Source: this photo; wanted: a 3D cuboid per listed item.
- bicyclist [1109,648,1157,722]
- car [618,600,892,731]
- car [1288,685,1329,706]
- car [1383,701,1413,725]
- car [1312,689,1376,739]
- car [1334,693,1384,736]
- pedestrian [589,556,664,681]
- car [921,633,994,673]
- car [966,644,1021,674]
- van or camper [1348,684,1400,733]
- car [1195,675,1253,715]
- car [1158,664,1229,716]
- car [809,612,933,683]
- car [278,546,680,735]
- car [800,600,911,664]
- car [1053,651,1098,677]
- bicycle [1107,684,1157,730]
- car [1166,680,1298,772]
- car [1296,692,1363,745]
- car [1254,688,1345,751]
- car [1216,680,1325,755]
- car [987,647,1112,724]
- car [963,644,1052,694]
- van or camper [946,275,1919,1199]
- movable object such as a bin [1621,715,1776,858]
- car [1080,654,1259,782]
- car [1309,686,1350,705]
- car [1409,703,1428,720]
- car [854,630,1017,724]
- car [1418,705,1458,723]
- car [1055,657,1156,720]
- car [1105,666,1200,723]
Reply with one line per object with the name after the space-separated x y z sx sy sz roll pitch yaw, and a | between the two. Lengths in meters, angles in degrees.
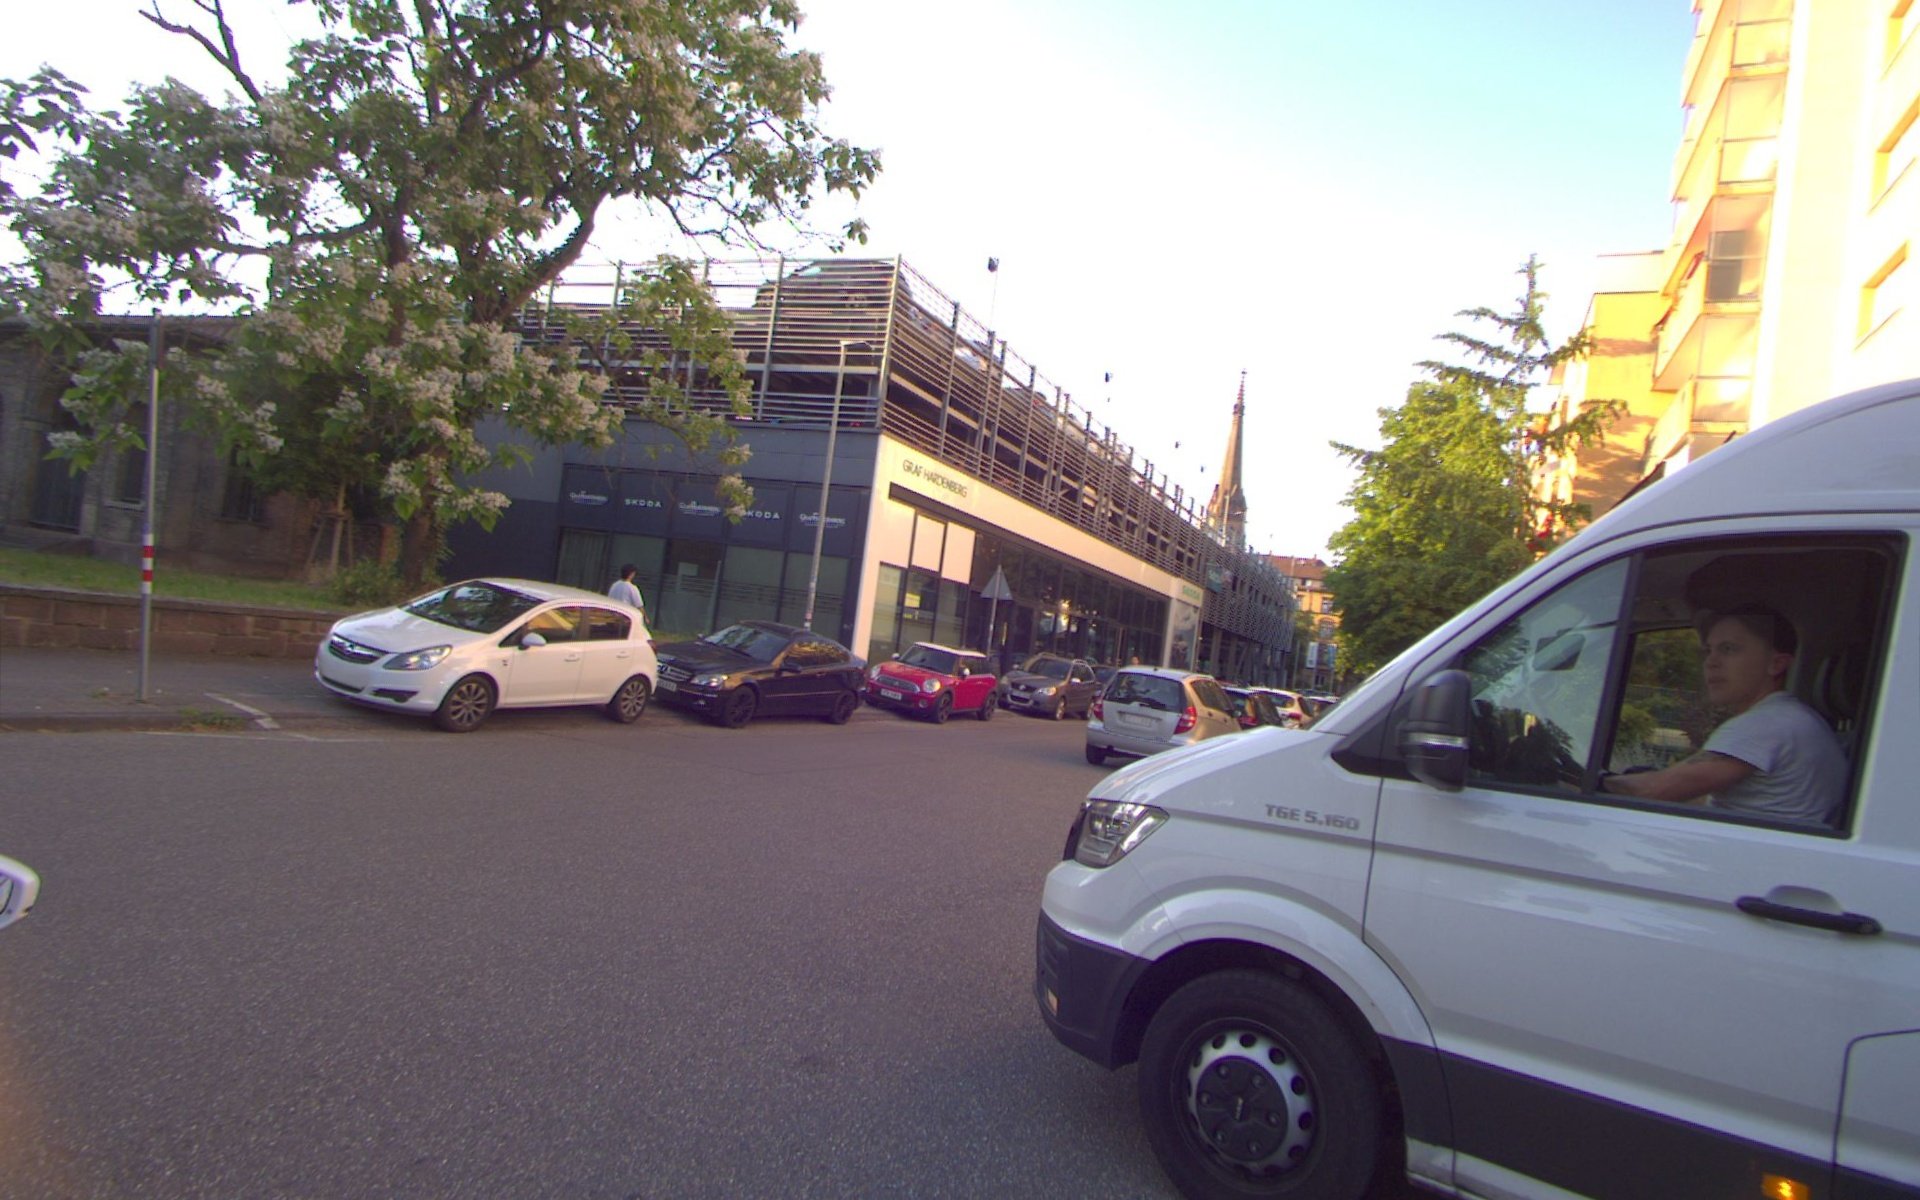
4.646 2.274 26.925 0.846 1.829 1.016 6 -1 25 | bicyclist
-2.969 1.059 15.614 1.637 1.432 4.413 12 0 26 | car
39.783 10.905 114.780 4.069 1.637 1.912 9 0 25 | car
32.861 8.421 75.374 1.734 1.459 4.003 6 -2 27 | car
14.710 4.317 38.394 1.766 1.580 4.192 6 -2 27 | car
16.949 4.815 42.675 1.586 1.528 3.477 6 -2 27 | car
-5.329 0.301 16.067 0.711 1.901 0.619 6 0 28 | pedestrian
-0.062 2.449 46.038 1.673 1.450 3.919 6 -2 27 | car
1.712 3.007 50.790 1.399 1.269 3.212 6 -2 27 | car
21.489 5.563 52.133 2.034 2.120 5.089 6 -2 26 | van or camper
11.996 4.288 45.549 1.673 1.523 3.789 6 -2 27 | car
9.467 3.638 40.577 1.673 1.776 4.402 6 -2 26 | car
-2.436 1.395 28.600 1.570 1.669 3.875 6 -2 26 | car
-5.156 0.499 11.413 1.636 1.532 3.886 10 0 21 | car
-3.304 1.085 32.537 1.673 1.677 3.737 6 -2 27 | car
6.834 3.803 59.388 1.399 1.269 3.524 6 -2 27 | car
4.618 2.852 26.950 0.748 1.109 1.863 5 -2 26 | bicycle
5.559 2.473 20.224 1.692 1.435 4.026 6 -2 27 | car
12.537 3.951 33.995 1.586 1.478 4.053 6 -2 26 | car
9.911 3.421 29.162 1.783 1.433 4.624 6 -2 26 | car
7.574 2.803 24.305 1.784 1.433 3.894 6 -2 27 | car
2.401 2.236 26.101 1.638 1.514 3.883 12 0 28 | car
1.817 2.609 37.384 1.673 1.532 3.992 6 -2 27 | car
3.460 0.816 2.389 6.763 2.617 2.093 6 -4 35 | van or camper
9.343 2.308 12.827 1.106 1.488 1.582 6 -1 23 | movable object such as a bin
3.504 1.854 16.248 1.783 1.594 3.883 6 -2 27 | car
48.286 12.452 131.502 4.756 1.753 1.921 7 -1 21 | car
51.310 12.451 112.572 1.670 1.588 3.972 6 -3 26 | car
-0.388 1.596 20.688 1.637 1.427 3.928 12 0 24 | car
55.889 13.319 117.703 3.916 1.484 1.874 8 -1 -20 | car
4.454 2.665 30.279 1.703 1.419 4.006 12 0 26 | car
6.700 3.265 34.752 1.910 1.615 4.201 6 -2 28 | car
